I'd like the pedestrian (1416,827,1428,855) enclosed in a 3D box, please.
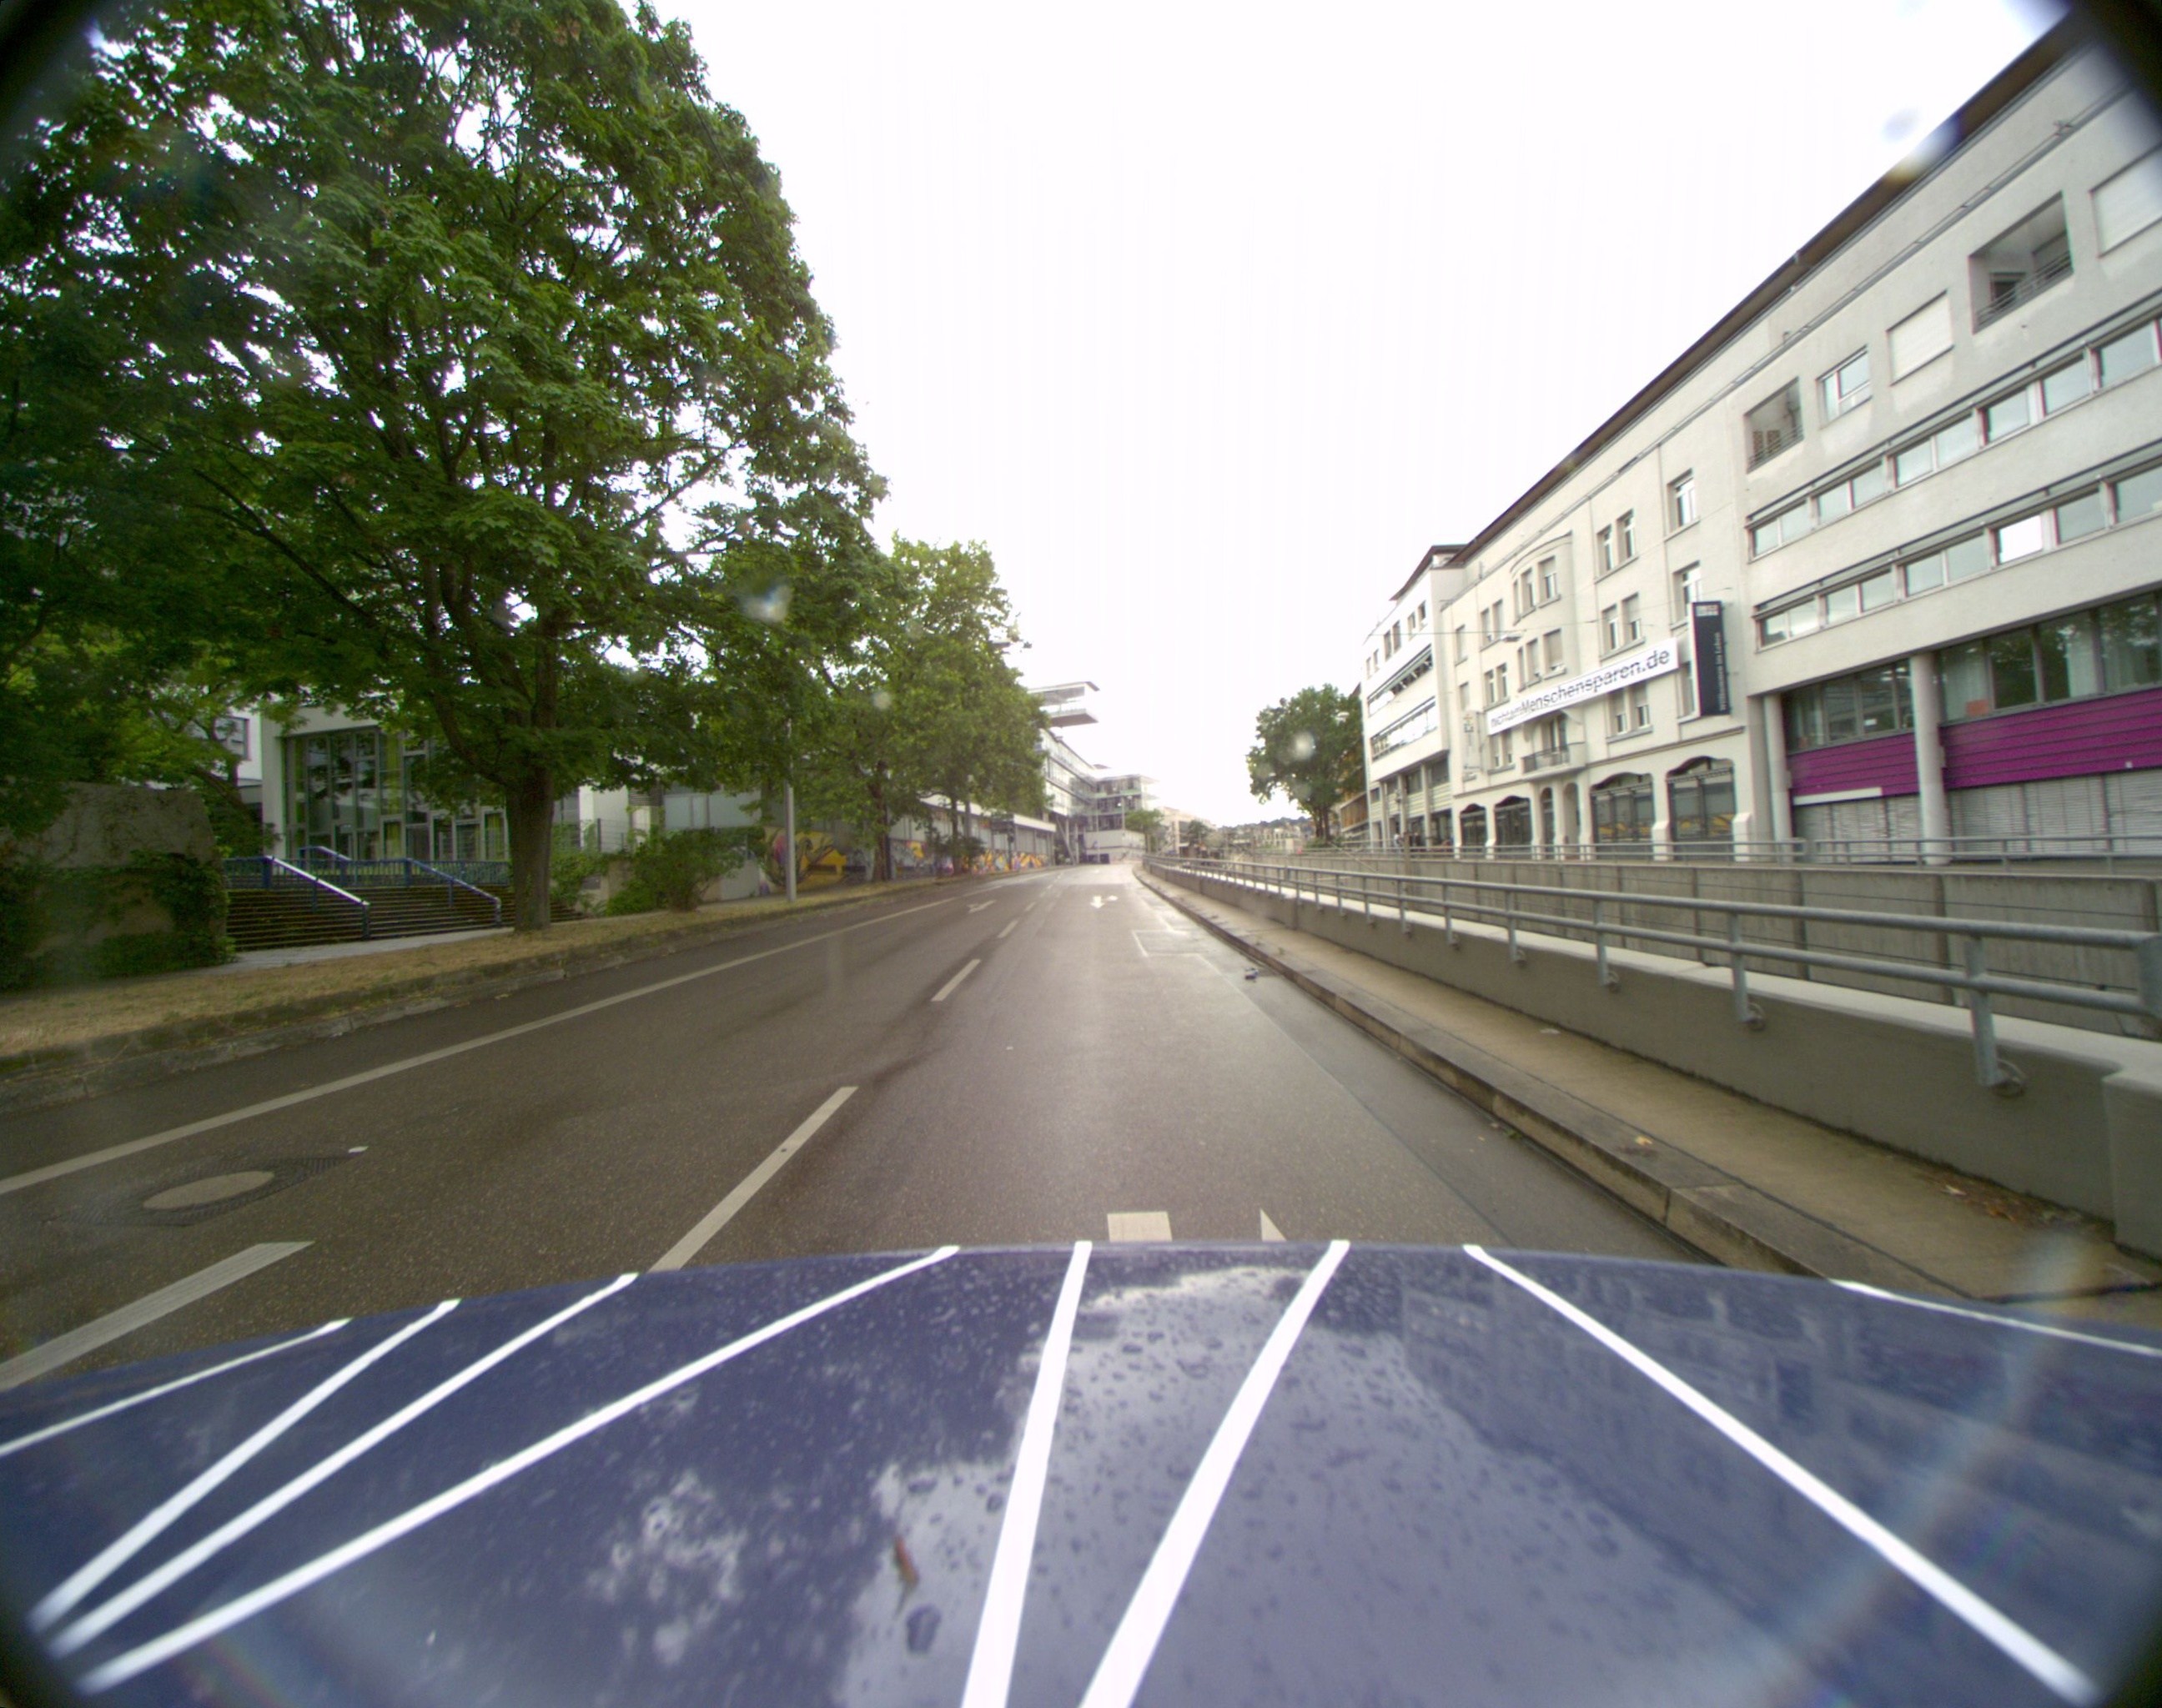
[{"bbox_3d":[22.569,-0.872,50.304,0.470,1.792,0.547,-4,1,3],"label":"pedestrian"}]

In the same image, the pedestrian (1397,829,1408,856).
[{"bbox_3d":[21.750,-0.774,51.339,0.469,1.792,0.548,-4,1,8],"label":"pedestrian"}]

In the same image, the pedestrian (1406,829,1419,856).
[{"bbox_3d":[22.478,-0.797,51.566,0.547,1.792,0.470,-4,1,-7],"label":"pedestrian"}]
